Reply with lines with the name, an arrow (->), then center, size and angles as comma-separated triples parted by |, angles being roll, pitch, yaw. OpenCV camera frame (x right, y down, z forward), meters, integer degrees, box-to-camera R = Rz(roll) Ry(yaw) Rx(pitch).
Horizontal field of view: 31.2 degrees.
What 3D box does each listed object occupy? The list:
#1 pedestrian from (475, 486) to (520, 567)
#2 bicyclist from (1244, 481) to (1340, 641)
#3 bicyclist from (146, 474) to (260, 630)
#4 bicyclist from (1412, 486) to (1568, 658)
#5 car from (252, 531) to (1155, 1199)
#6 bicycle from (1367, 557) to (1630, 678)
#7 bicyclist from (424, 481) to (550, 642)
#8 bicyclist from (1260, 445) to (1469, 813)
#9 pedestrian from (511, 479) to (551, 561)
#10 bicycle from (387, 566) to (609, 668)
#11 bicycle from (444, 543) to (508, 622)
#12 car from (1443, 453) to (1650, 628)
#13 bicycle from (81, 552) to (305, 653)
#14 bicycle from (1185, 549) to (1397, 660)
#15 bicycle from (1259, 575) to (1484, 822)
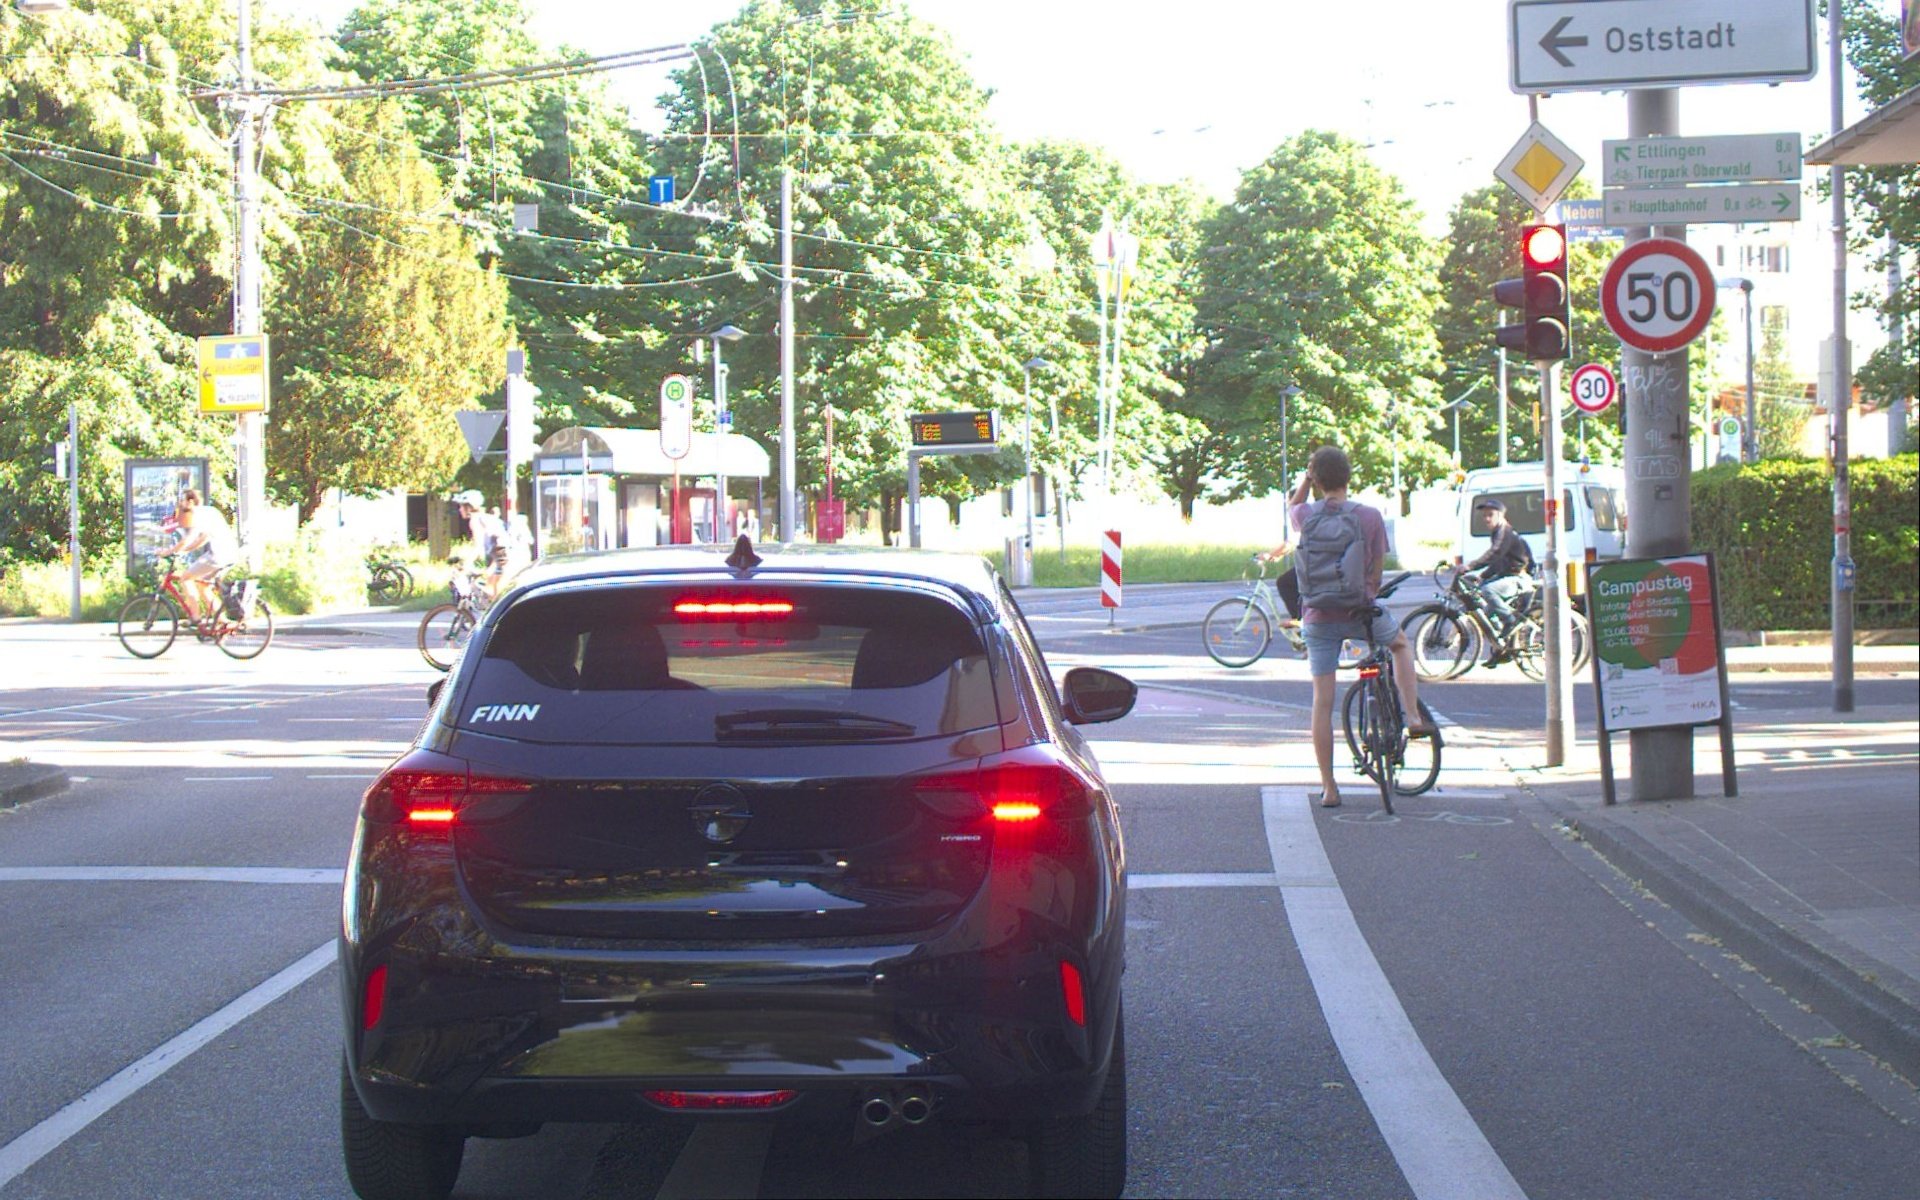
pedestrian -> -9.363, -1.479, 69.599 | 0.751, 1.624, 0.597 | 1, 1, 7
bicyclist -> 3.336, -0.395, 34.506 | 0.861, 1.589, 0.649 | 0, 1, 13
bicyclist -> -8.369, -0.532, 38.046 | 0.927, 1.701, 0.875 | 0, 1, 12
bicyclist -> 4.778, -0.264, 31.032 | 1.112, 1.515, 0.922 | -1, 1, -13
car -> -0.508, 0.548, 8.690 | 1.727, 1.424, 4.187 | 0, 1, 0
bicycle -> 4.860, 0.146, 31.075 | 2.190, 1.029, 0.835 | -1, 1, -13
bicyclist -> -4.666, -0.388, 33.976 | 1.010, 1.565, 0.799 | 0, 1, 11
bicyclist -> 2.079, 0.135, 17.782 | 0.941, 1.844, 0.864 | -1, 1, -1
pedestrian -> -8.684, -1.619, 69.589 | 0.636, 1.624, 0.572 | 1, 1, 7
bicycle -> -4.568, 0.166, 33.997 | 2.059, 0.980, 0.672 | 0, 1, 11
bicycle -> -6.536, -0.248, 46.488 | 0.605, 1.027, 1.982 | -1, 1, -1
car -> 7.989, -0.826, 46.466 | 2.065, 2.241, 4.883 | 0, 2, 18
bicycle -> -8.490, 0.023, 38.074 | 2.294, 1.080, 0.800 | 0, 1, 12
bicycle -> 3.327, 0.040, 34.515 | 2.056, 1.090, 0.592 | 0, 1, 13
bicycle -> 2.102, 0.474, 17.863 | 0.860, 1.149, 2.172 | -1, 1, -1
